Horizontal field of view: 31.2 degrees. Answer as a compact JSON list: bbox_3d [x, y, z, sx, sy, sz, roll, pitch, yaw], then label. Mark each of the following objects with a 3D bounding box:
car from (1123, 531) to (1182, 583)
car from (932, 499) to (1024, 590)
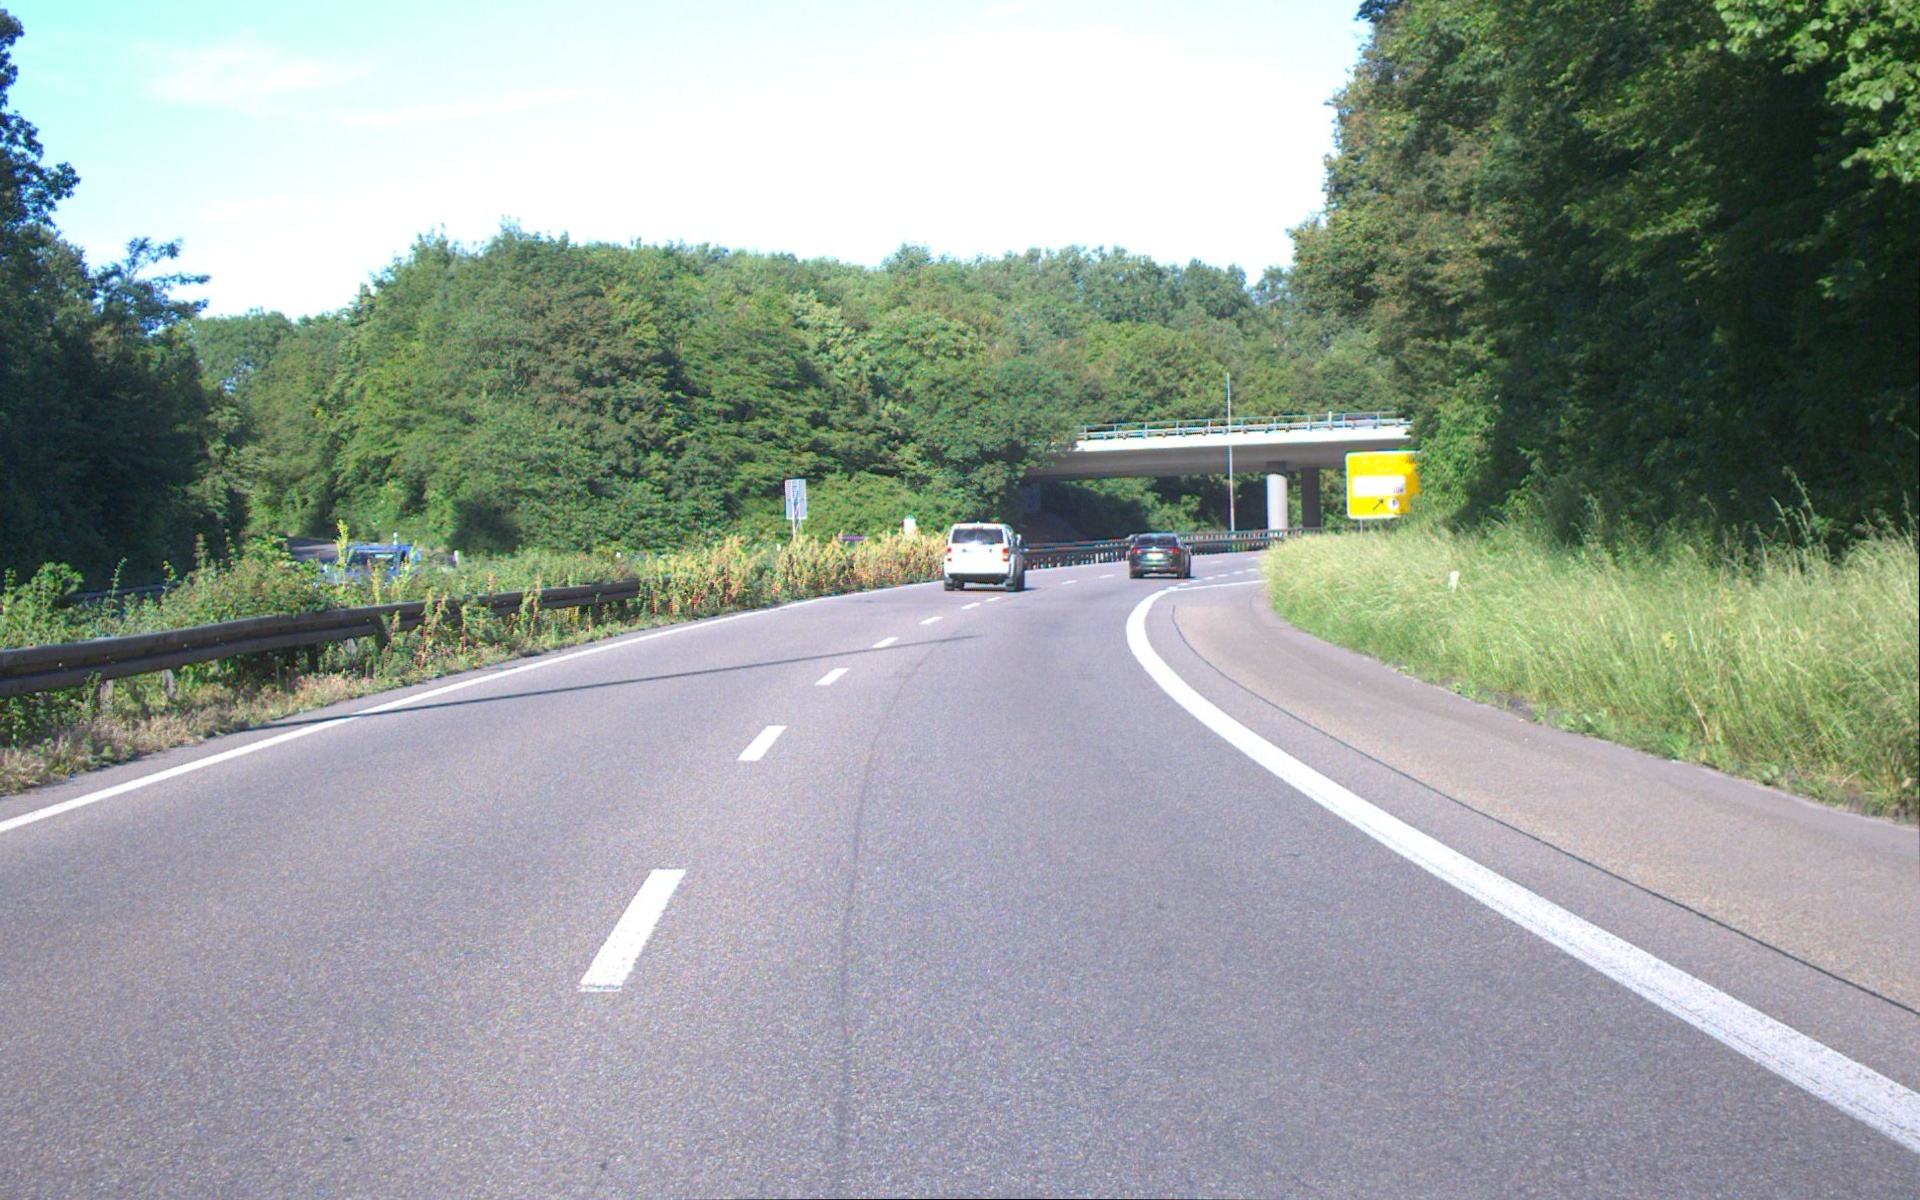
[{"bbox_3d":[6.309,-1.418,112.295,1.739,1.656,3.945,-1,1,6],"label":"car"},{"bbox_3d":[0.492,-1.458,89.720,1.994,2.269,3.999,-1,1,6],"label":"car"}]
